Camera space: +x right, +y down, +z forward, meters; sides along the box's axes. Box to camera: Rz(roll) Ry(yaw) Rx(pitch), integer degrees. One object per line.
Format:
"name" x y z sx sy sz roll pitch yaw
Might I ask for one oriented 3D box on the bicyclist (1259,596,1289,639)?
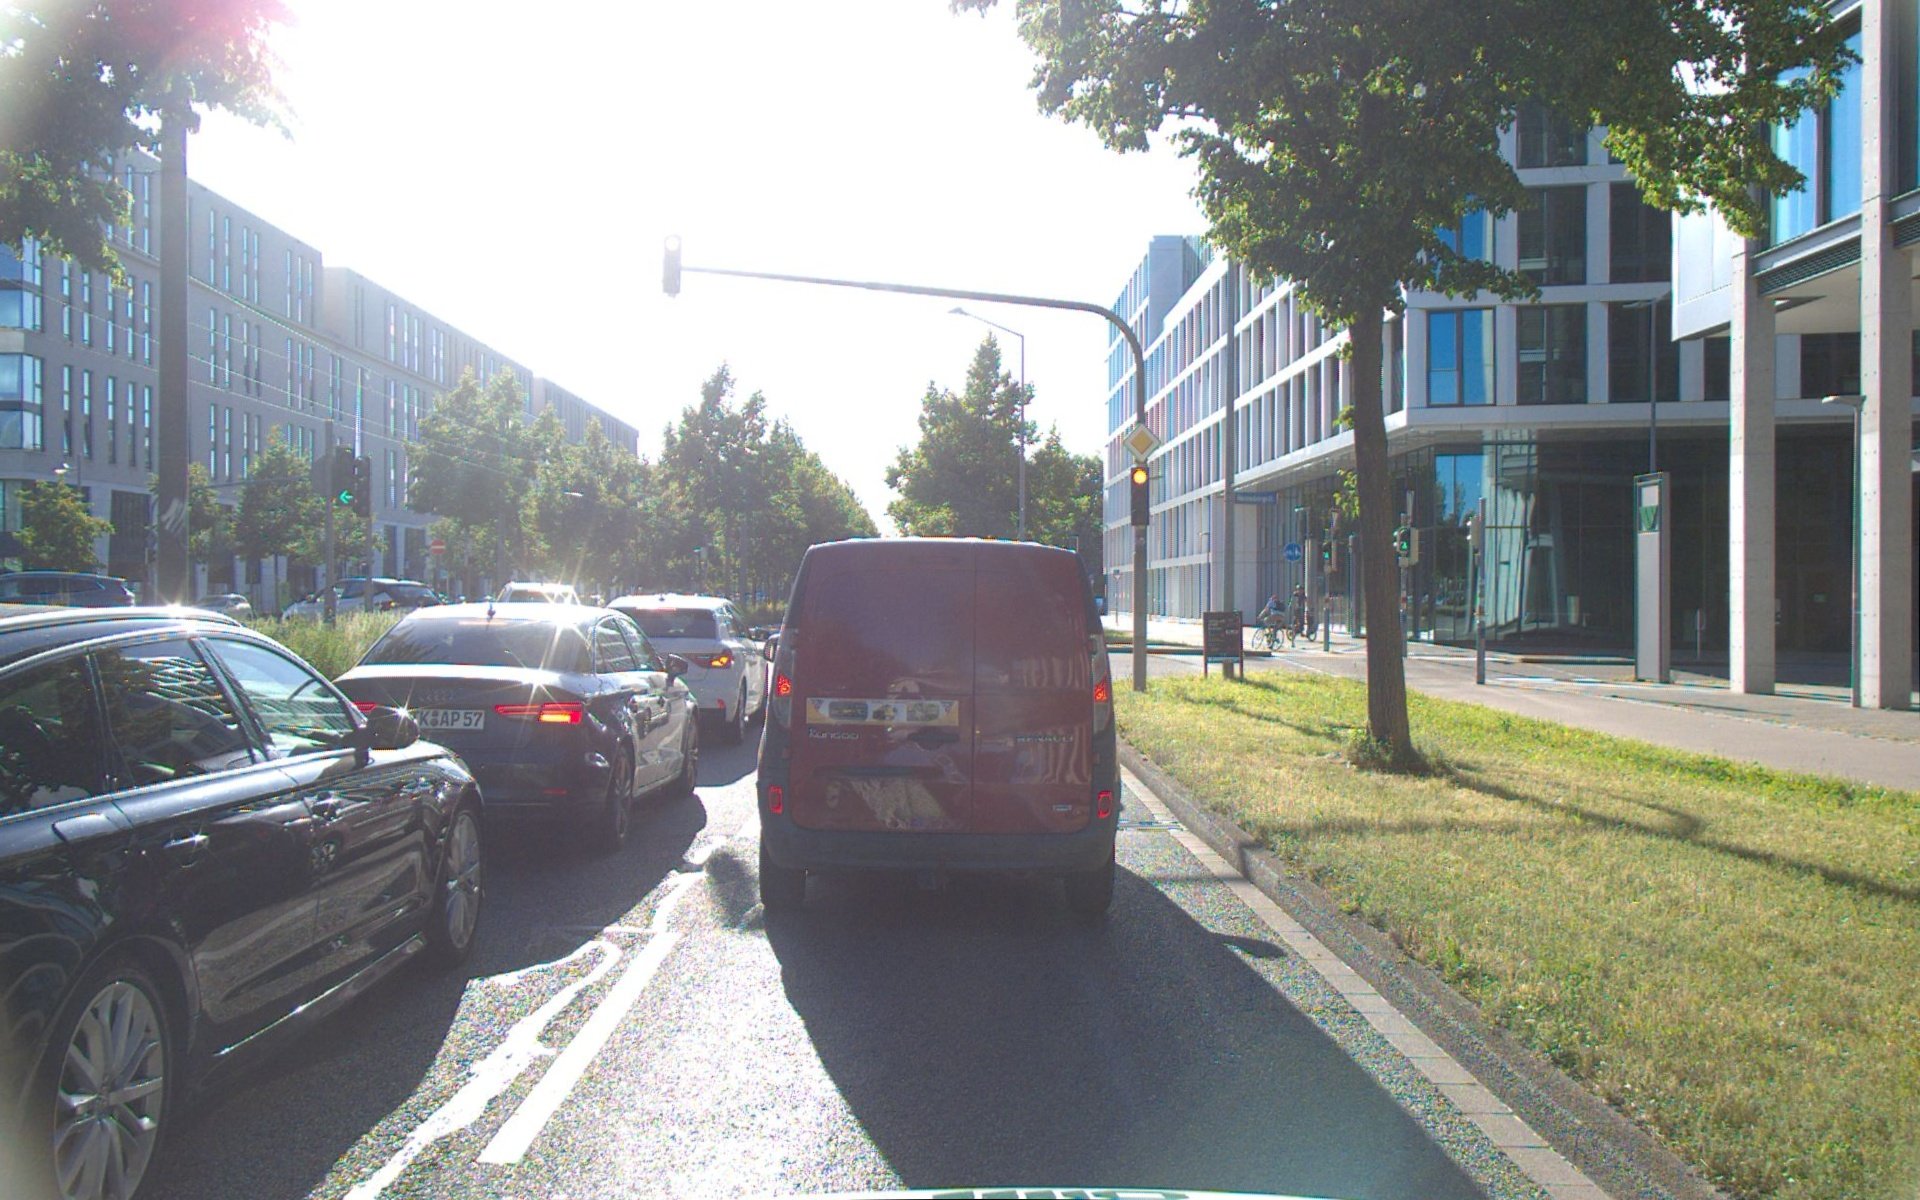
"bicyclist" 9.512 0.516 50.152 0.801 1.297 0.683 0 0 1

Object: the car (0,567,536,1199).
"car" -2.778 0.682 5.057 1.836 1.510 4.965 0 0 -2

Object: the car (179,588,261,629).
"car" -34.748 0.374 77.769 1.953 1.845 4.369 0 0 -1

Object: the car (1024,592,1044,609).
"car" 8.059 0.061 179.935 1.953 1.813 3.999 0 0 -1

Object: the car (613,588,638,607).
"car" -36.726 -0.272 181.851 1.953 2.049 3.999 0 0 -1

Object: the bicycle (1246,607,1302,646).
"bicycle" 9.510 0.793 50.225 0.803 1.134 2.840 0 0 -8

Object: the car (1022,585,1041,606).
"car" 8.573 -0.522 198.461 1.953 2.540 4.986 0 0 -1

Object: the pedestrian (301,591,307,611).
"pedestrian" -44.202 0.066 111.371 0.290 1.378 0.278 0 0 -1

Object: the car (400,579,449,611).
"car" -35.289 -0.312 109.107 1.953 2.049 3.999 0 0 -1

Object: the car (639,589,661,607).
"car" -37.223 -0.251 198.657 1.953 2.049 3.999 0 0 -1

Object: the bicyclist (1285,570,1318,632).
"bicyclist" 11.798 0.031 57.152 0.802 2.129 0.939 0 0 -16

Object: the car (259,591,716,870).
"car" -2.790 0.675 10.833 1.804 1.451 4.338 0 0 -1

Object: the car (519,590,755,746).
"car" -3.252 0.624 17.392 1.767 1.451 3.900 0 0 -1

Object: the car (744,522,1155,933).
"car" -0.074 0.555 9.305 1.804 1.812 3.999 0 0 -1

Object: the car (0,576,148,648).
"car" -19.519 0.238 34.542 4.506 1.473 1.787 0 0 -31

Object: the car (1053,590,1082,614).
"car" 8.321 0.143 128.113 1.953 1.813 3.999 0 0 -1

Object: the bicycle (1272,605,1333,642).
"bicycle" 11.801 0.788 57.145 0.802 1.211 2.939 0 0 -16

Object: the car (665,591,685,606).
"car" -37.363 -0.211 216.672 1.953 2.049 3.999 0 0 -1

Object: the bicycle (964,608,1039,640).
"bicycle" 1.609 0.916 64.128 2.881 1.211 0.818 0 0 0

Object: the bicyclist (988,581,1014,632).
"bicyclist" 1.595 0.252 64.144 0.978 1.981 0.818 0 0 1

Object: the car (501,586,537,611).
"car" -36.251 -0.145 135.943 1.953 2.049 3.999 0 0 -1

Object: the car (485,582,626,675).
"car" -7.210 0.453 29.815 1.483 1.518 4.216 0 1 0

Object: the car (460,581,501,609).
"car" -35.839 -0.382 123.637 1.953 2.049 3.999 0 0 -1

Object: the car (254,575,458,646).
"car" -13.166 0.206 35.991 4.471 1.473 1.801 0 0 32

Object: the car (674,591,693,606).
"car" -37.175 -0.189 222.299 1.953 2.049 3.999 0 0 -1
